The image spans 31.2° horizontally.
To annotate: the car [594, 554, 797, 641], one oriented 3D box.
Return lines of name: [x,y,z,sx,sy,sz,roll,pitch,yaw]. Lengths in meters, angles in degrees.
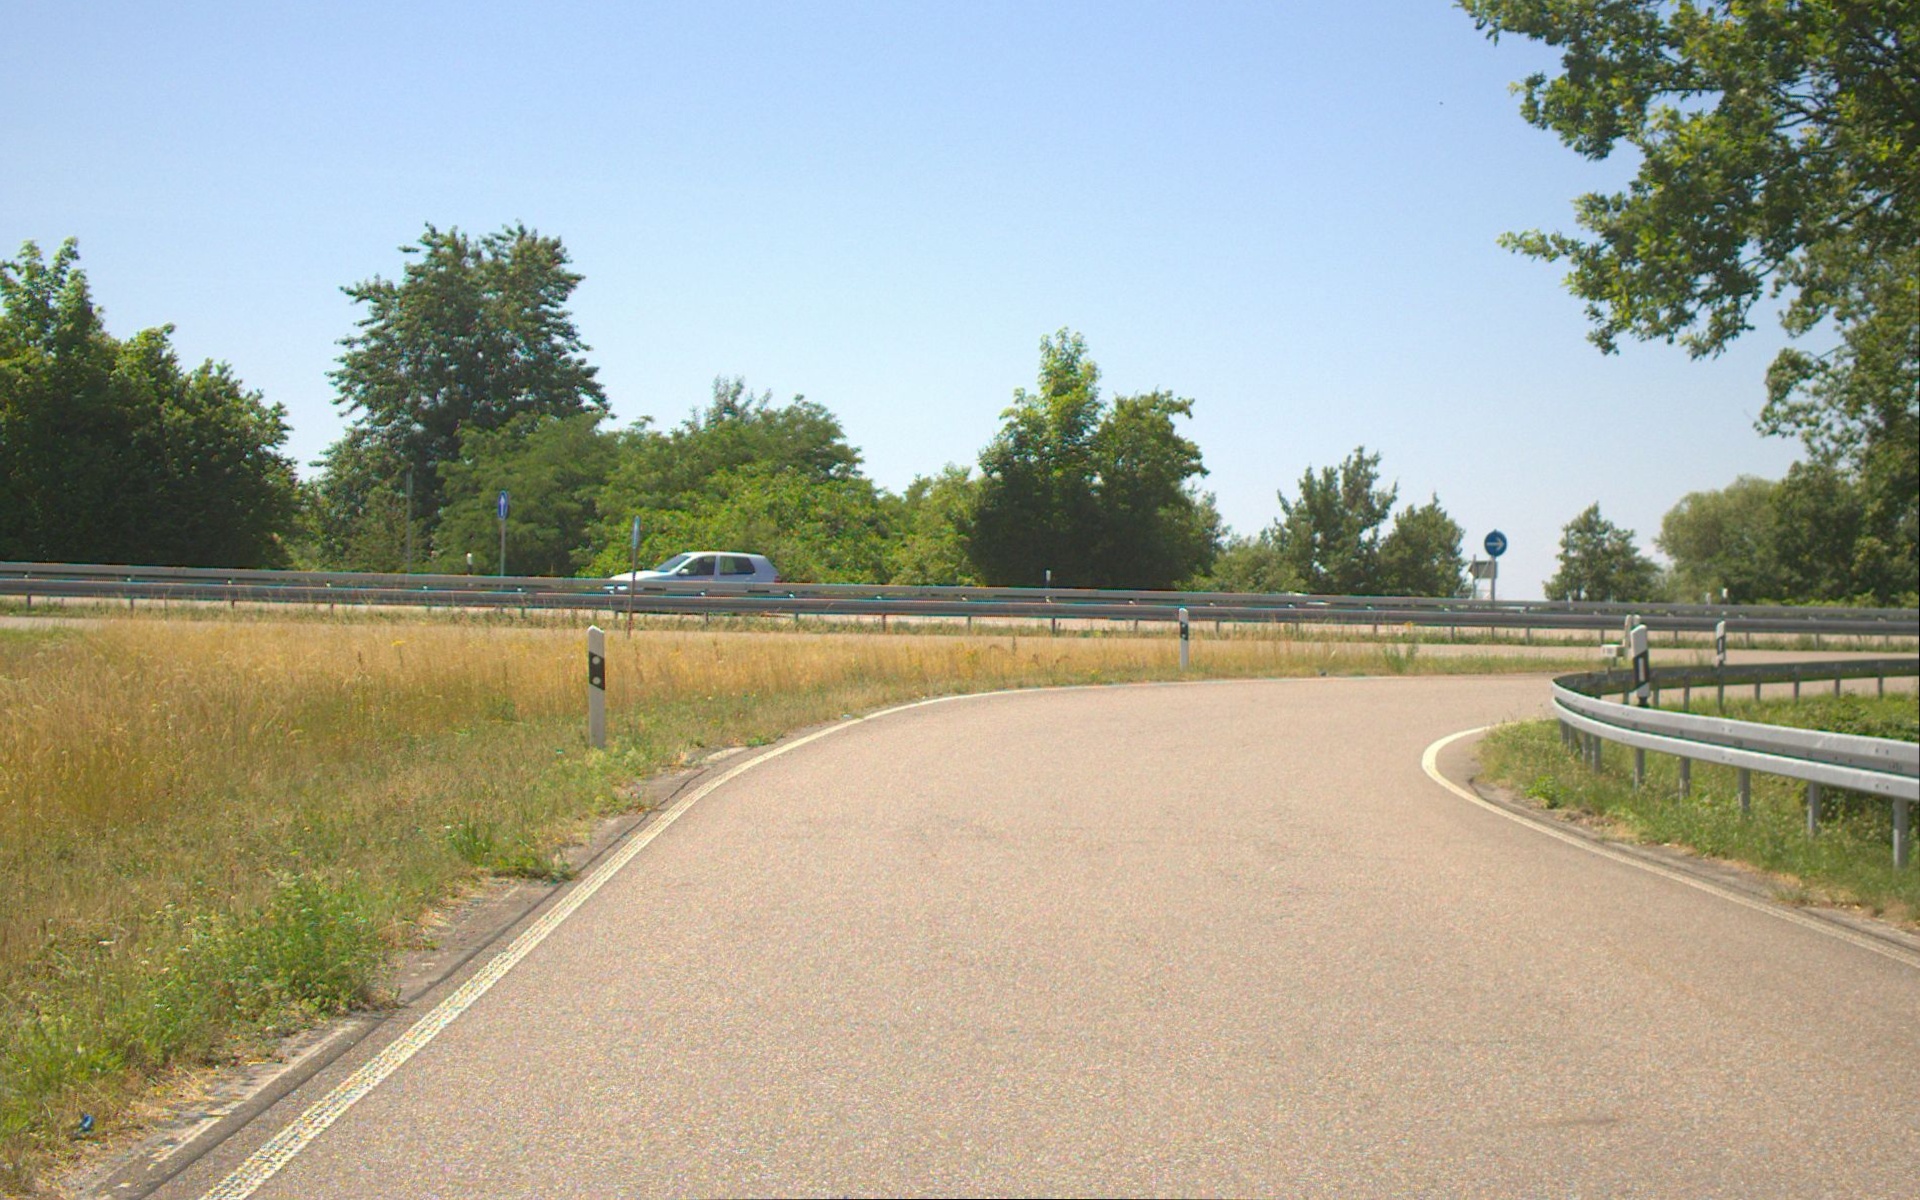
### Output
car: [-6.154,-0.044,80.003,4.211,1.784,2.000,4,-2,-25]
